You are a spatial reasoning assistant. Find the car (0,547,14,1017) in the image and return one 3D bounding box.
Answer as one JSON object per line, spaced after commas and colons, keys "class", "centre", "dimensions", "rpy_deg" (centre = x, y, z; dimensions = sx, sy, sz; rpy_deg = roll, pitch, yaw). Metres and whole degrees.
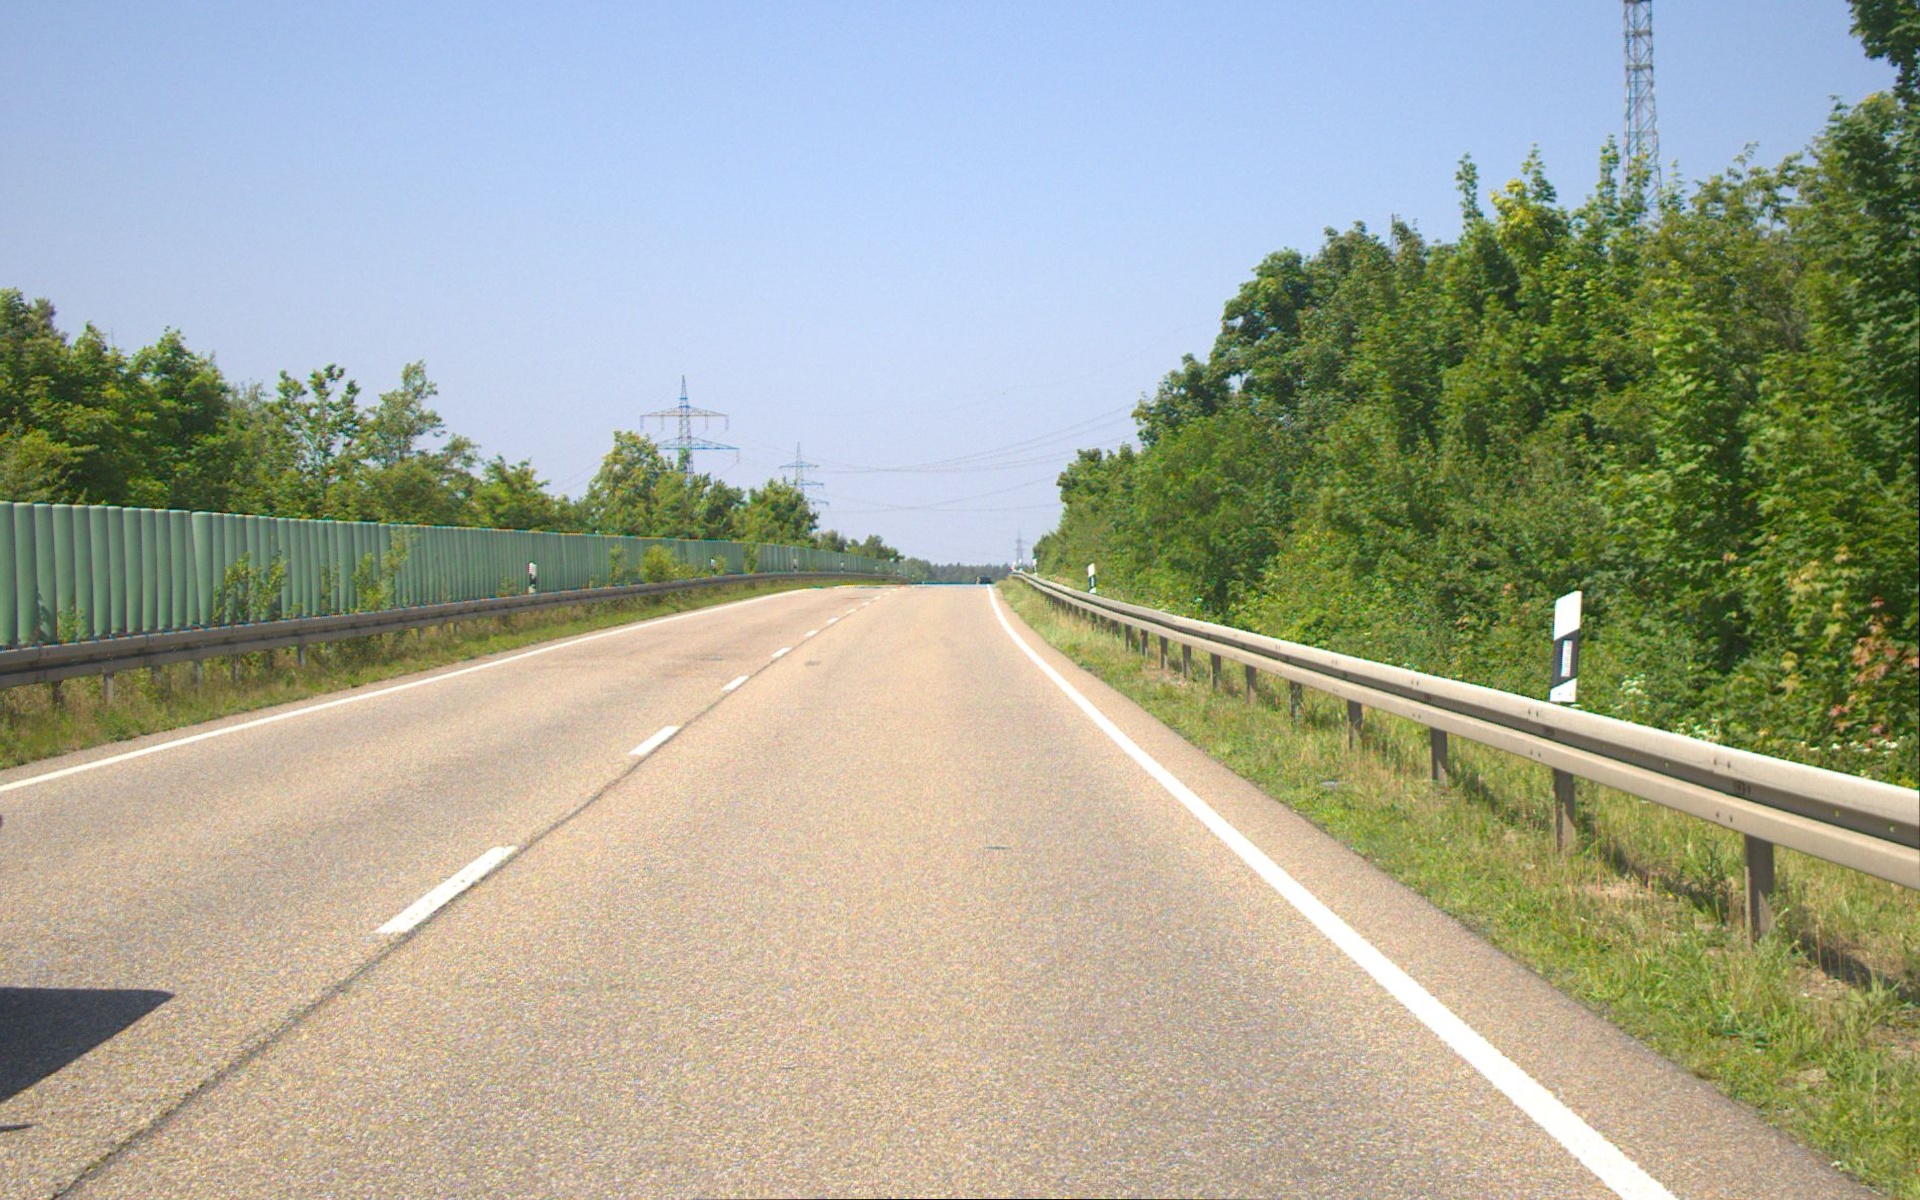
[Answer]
{"class": "car", "centre": [-3.878, 0.614, 8.973], "dimensions": [1.720, 1.496, 4.248], "rpy_deg": [0, 1, -1]}
